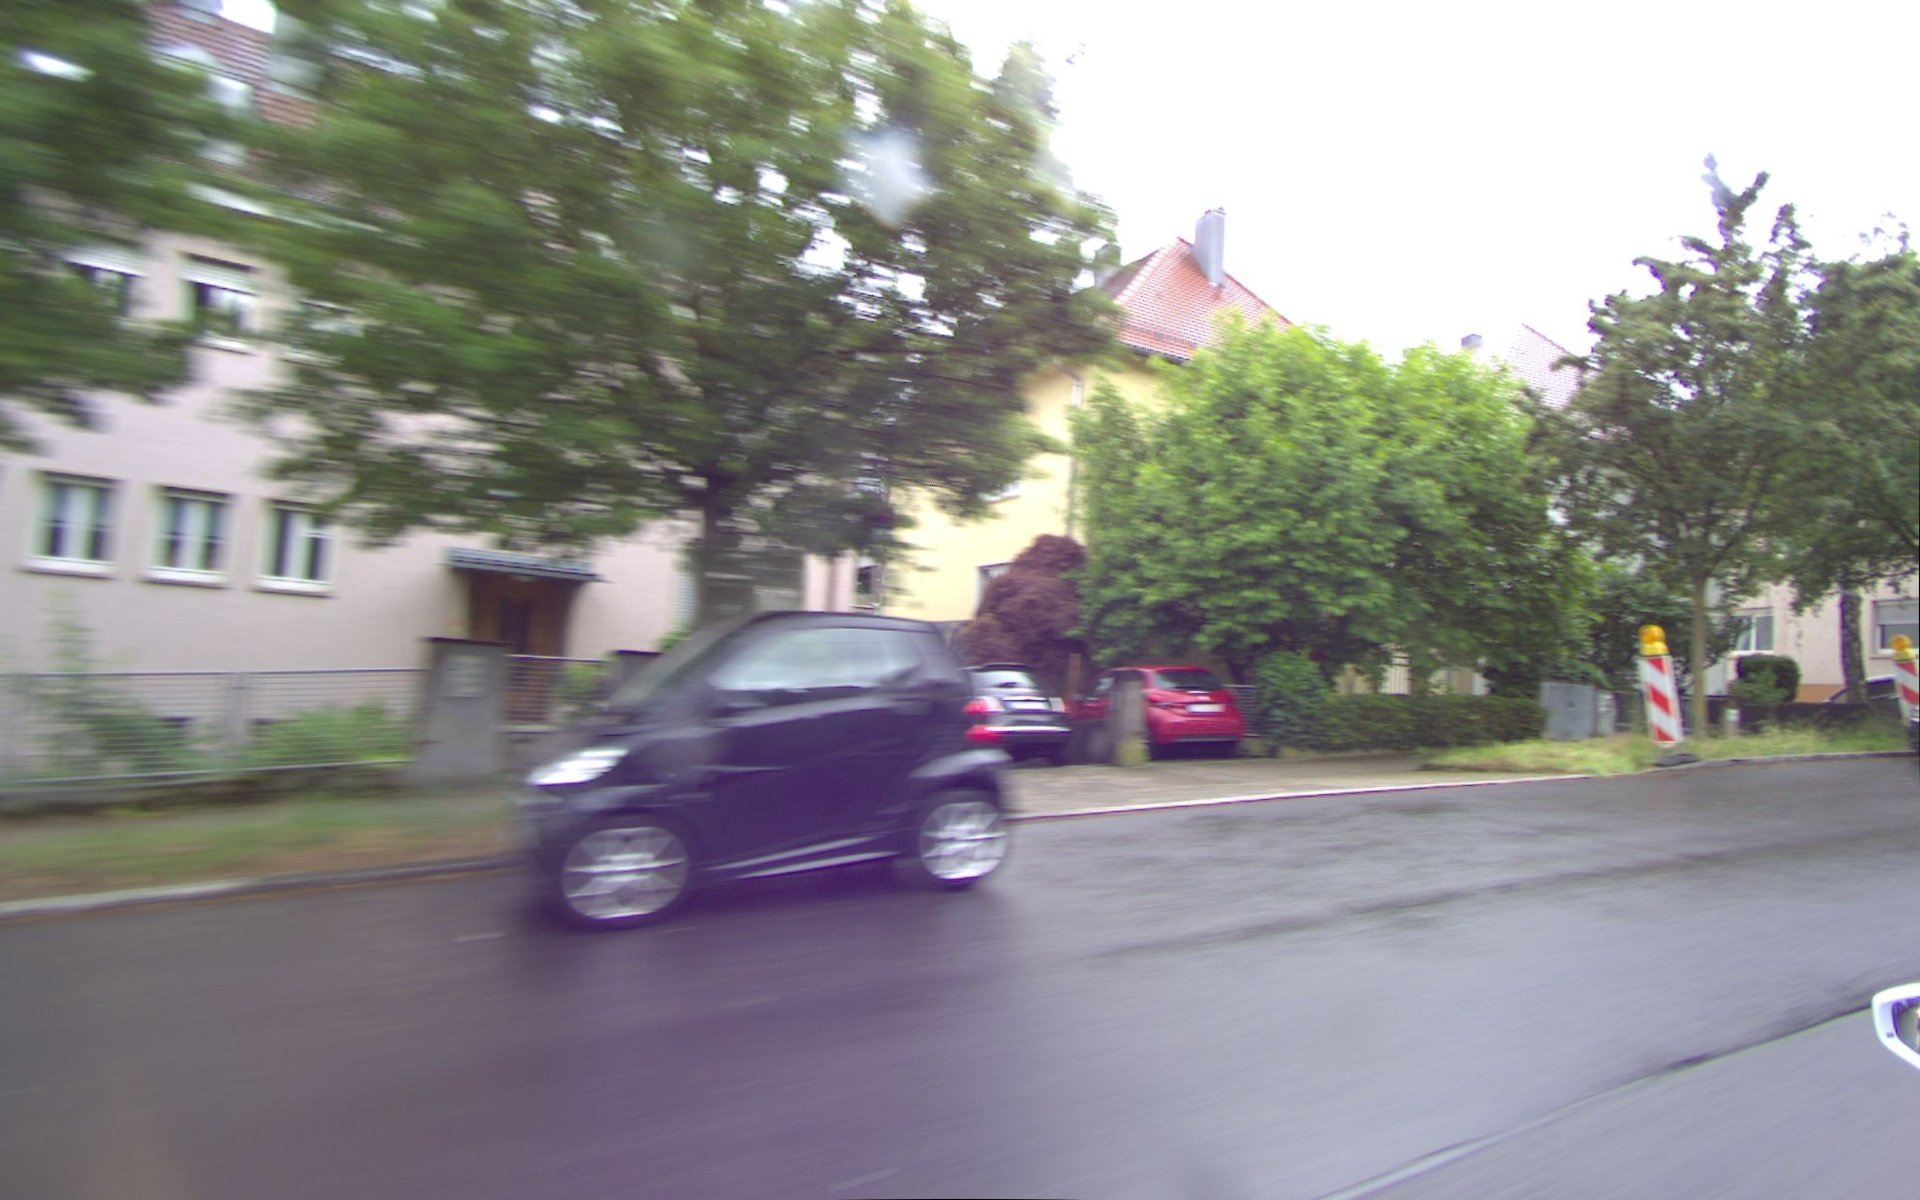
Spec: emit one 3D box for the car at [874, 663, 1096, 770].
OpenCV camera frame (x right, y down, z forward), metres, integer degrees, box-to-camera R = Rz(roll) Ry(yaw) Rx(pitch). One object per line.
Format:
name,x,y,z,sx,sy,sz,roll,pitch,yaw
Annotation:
car,0.215,1.840,15.139,1.803,1.377,3.911,3,-10,-25

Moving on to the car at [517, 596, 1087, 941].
car,-0.901,0.843,5.971,3.001,1.555,1.511,3,-3,-30

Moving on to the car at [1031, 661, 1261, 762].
car,2.890,1.912,16.483,1.755,1.411,3.911,3,-10,-25

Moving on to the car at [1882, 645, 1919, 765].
car,14.385,1.413,13.171,4.466,1.503,1.728,3,-2,-23

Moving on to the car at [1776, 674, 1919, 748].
car,22.471,2.700,24.106,1.878,1.522,4.254,2,-11,-7
